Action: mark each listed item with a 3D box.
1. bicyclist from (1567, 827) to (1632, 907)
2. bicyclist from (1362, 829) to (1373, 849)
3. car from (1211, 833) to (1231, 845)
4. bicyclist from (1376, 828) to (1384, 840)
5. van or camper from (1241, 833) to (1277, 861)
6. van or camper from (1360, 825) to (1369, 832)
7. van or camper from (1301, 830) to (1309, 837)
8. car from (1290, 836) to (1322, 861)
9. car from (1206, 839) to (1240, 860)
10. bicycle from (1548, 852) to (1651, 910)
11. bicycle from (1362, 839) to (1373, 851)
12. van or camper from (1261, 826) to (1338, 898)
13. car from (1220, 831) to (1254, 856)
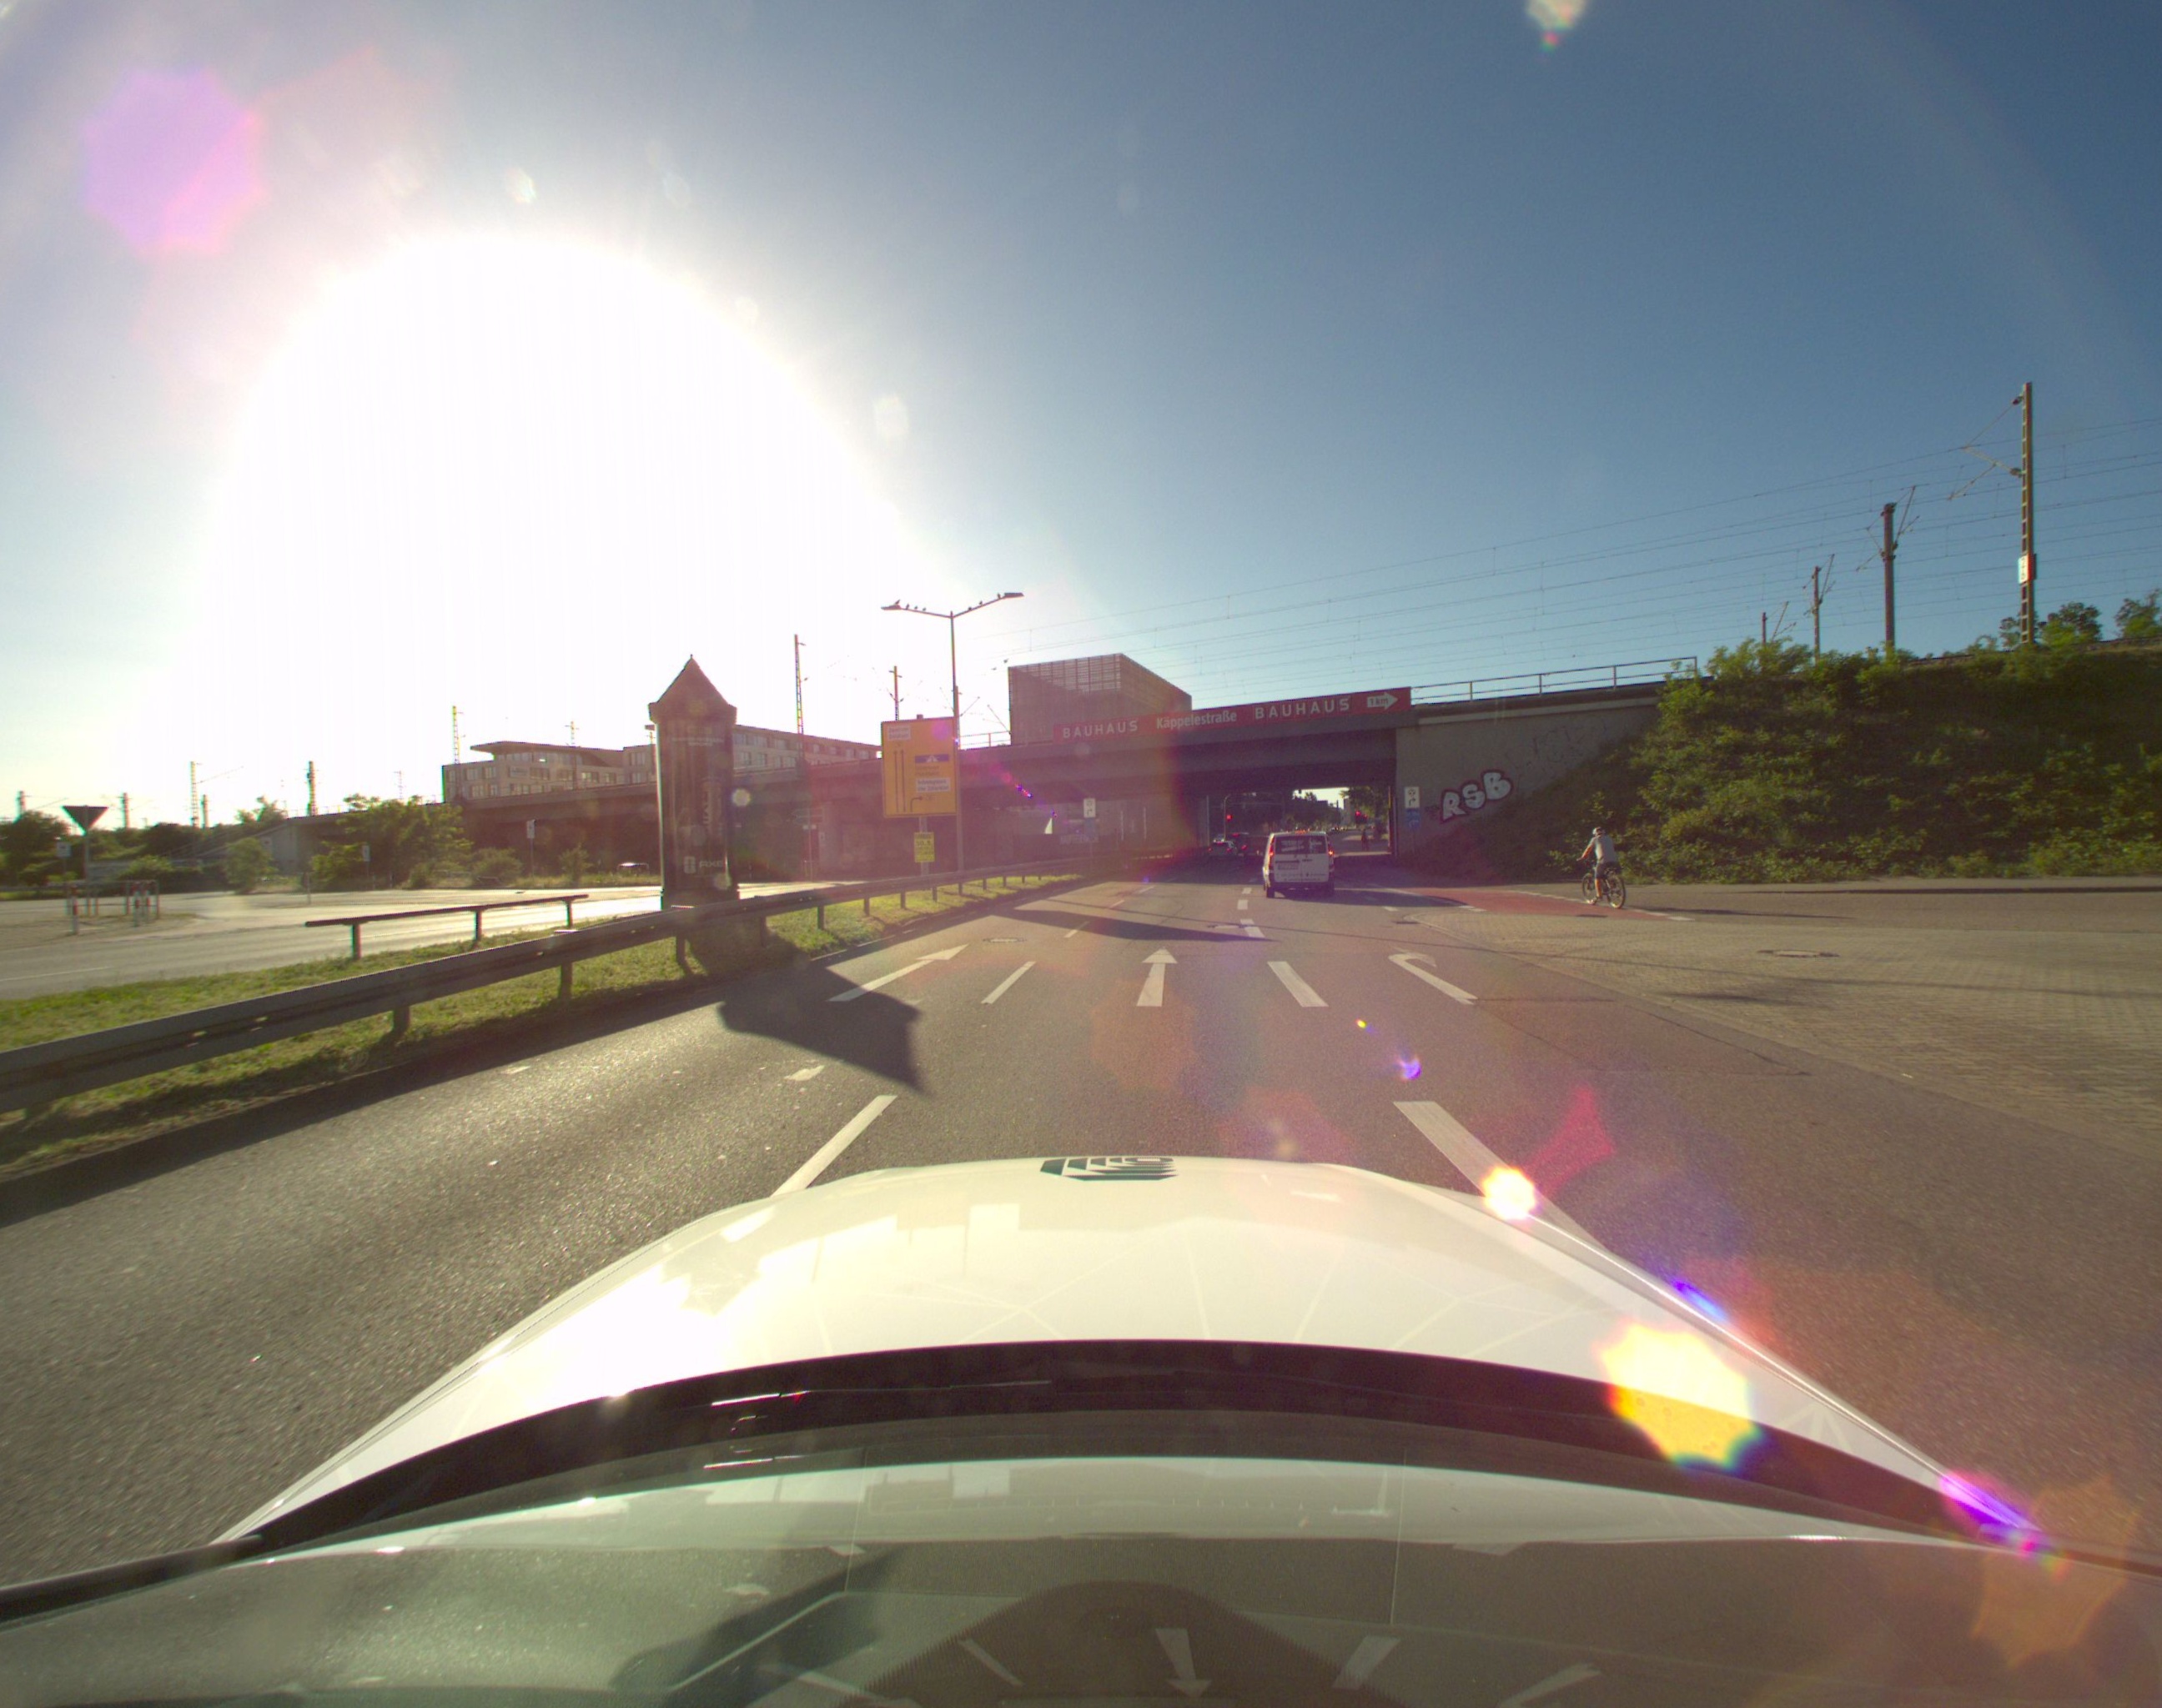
[{"bbox_3d":[11.030,0.268,17.359,0.742,1.619,0.914,-4,0,4],"label":"bicyclist"},{"bbox_3d":[23.222,-1.214,66.034,0.745,1.584,0.930,-4,0,19],"label":"bicyclist"},{"bbox_3d":[19.538,-2.076,113.533,1.767,1.645,4.224,-1,1,22],"label":"car"},{"bbox_3d":[40.954,-2.733,111.468,0.914,1.584,0.774,-4,0,25],"label":"bicyclist"},{"bbox_3d":[11.974,-0.503,54.497,1.739,1.813,3.980,-1,1,21],"label":"van or camper"},{"bbox_3d":[78.217,-7.013,224.741,1.769,1.863,3.932,-4,0,27],"label":"van or camper"},{"bbox_3d":[64.879,-6.047,236.108,1.771,1.863,3.927,-4,0,19],"label":"van or camper"},{"bbox_3d":[15.026,-0.384,54.244,1.693,1.522,3.762,-1,1,21],"label":"car"},{"bbox_3d":[10.482,-0.386,59.940,1.693,1.452,3.762,-1,1,21],"label":"car"},{"bbox_3d":[11.030,0.526,17.450,0.740,1.112,2.454,-4,0,4],"label":"bicycle"},{"bbox_3d":[23.267,-0.758,66.072,0.766,0.893,2.006,-4,0,19],"label":"bicycle"},{"bbox_3d":[6.506,0.187,24.711,1.945,1.883,4.897,-3,0,12],"label":"van or camper"},{"bbox_3d":[12.874,-0.859,66.989,1.850,1.946,4.621,-1,1,21],"label":"car"}]
